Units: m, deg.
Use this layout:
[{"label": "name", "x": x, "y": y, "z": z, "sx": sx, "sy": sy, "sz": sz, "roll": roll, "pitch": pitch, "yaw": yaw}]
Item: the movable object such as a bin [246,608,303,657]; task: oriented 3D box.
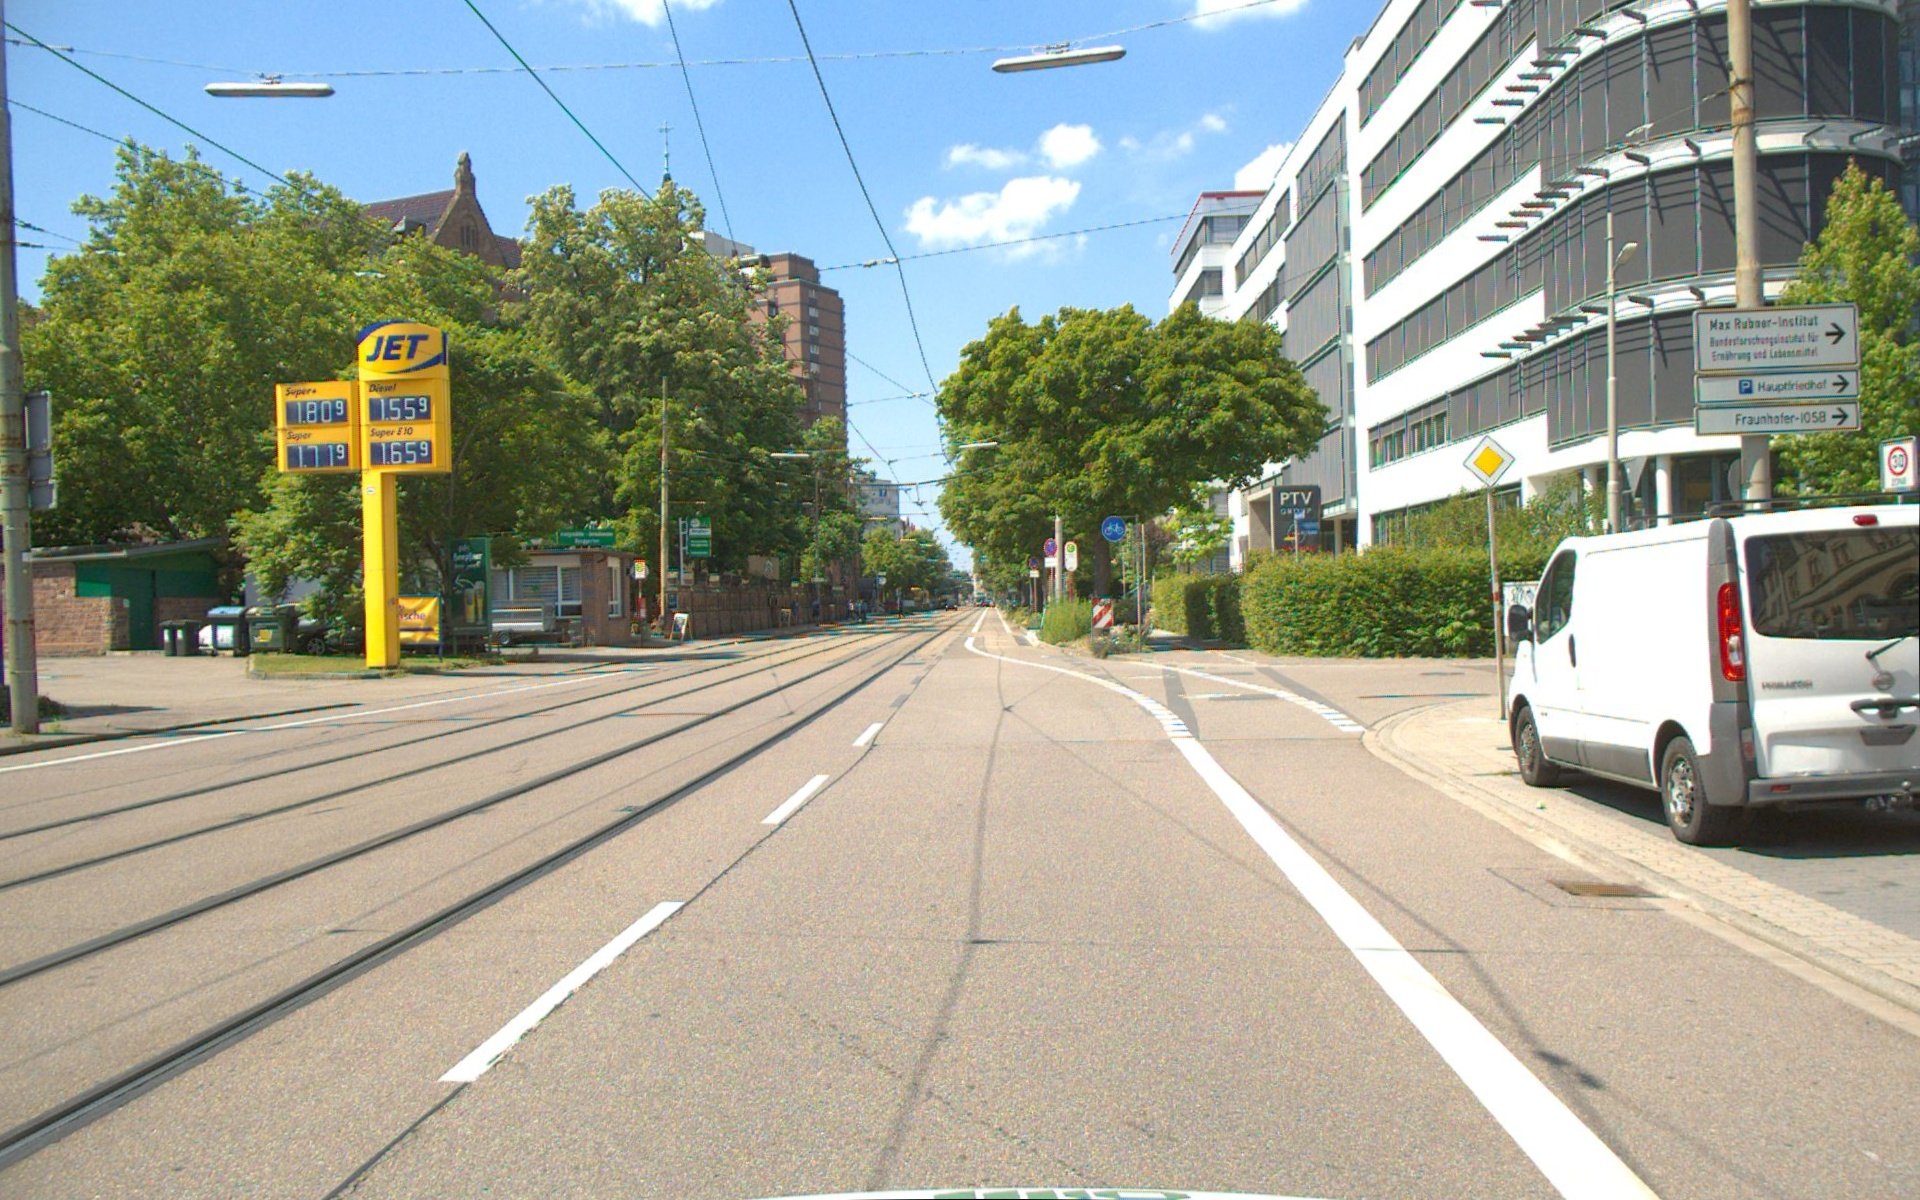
[{"label": "movable object such as a bin", "x": -20.010, "y": 0.947, "z": 48.321, "sx": 1.317, "sy": 1.378, "sz": 0.758, "roll": -1, "pitch": 0, "yaw": -1}]

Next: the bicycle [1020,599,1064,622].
[{"label": "bicycle", "x": 4.770, "y": 0.595, "z": 96.123, "sx": 2.458, "sy": 1.231, "sz": 0.648, "roll": -2, "pitch": 0, "yaw": 5}]

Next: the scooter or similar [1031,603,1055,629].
[{"label": "scooter or similar", "x": 3.888, "y": 0.763, "z": 77.631, "sx": 1.036, "sy": 1.176, "sz": 0.371, "roll": -3, "pitch": -1, "yaw": 1}]

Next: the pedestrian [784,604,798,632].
[{"label": "pedestrian", "x": -10.804, "y": 1.167, "z": 105.787, "sx": 0.728, "sy": 1.758, "sz": 0.867, "roll": -1, "pitch": 0, "yaw": 1}]

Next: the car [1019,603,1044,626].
[{"label": "car", "x": 4.885, "y": 1.007, "z": 113.824, "sx": 1.600, "sy": 1.527, "sz": 4.000, "roll": -2, "pitch": 0, "yaw": 1}]

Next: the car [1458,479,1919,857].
[{"label": "car", "x": 5.378, "y": 0.333, "z": 11.859, "sx": 1.952, "sy": 2.026, "sz": 5.515, "roll": -3, "pitch": 0, "yaw": 1}]

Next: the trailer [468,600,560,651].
[{"label": "trailer", "x": -15.768, "y": 0.903, "z": 58.576, "sx": 2.771, "sy": 1.733, "sz": 1.621, "roll": -1, "pitch": 0, "yaw": 2}]

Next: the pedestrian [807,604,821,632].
[{"label": "pedestrian", "x": -9.441, "y": 1.159, "z": 107.180, "sx": 0.798, "sy": 1.801, "sz": 0.924, "roll": -1, "pitch": 0, "yaw": 1}]

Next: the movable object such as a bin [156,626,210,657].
[{"label": "movable object such as a bin", "x": -23.352, "y": 1.239, "z": 49.734, "sx": 1.316, "sy": 0.888, "sz": 0.758, "roll": -1, "pitch": 0, "yaw": 21}]

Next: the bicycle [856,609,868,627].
[{"label": "bicycle", "x": -7.164, "y": 1.321, "z": 121.192, "sx": 0.686, "sy": 1.225, "sz": 2.240, "roll": -4, "pitch": 0, "yaw": 1}]

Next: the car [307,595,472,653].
[{"label": "car", "x": -17.194, "y": 0.707, "z": 50.008, "sx": 1.967, "sy": 1.618, "sz": 4.302, "roll": -2, "pitch": 0, "yaw": 45}]

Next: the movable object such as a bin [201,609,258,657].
[{"label": "movable object such as a bin", "x": -21.570, "y": 0.971, "z": 48.853, "sx": 1.315, "sy": 1.378, "sz": 0.759, "roll": -1, "pitch": 0, "yaw": 13}]

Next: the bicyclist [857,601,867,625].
[{"label": "bicyclist", "x": -7.181, "y": 0.959, "z": 121.338, "sx": 0.629, "sy": 1.709, "sz": 0.814, "roll": -2, "pitch": 0, "yaw": -2}]

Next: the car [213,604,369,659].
[{"label": "car", "x": -21.444, "y": 0.997, "z": 53.111, "sx": 4.297, "sy": 1.620, "sz": 1.881, "roll": -1, "pitch": 0, "yaw": -42}]
